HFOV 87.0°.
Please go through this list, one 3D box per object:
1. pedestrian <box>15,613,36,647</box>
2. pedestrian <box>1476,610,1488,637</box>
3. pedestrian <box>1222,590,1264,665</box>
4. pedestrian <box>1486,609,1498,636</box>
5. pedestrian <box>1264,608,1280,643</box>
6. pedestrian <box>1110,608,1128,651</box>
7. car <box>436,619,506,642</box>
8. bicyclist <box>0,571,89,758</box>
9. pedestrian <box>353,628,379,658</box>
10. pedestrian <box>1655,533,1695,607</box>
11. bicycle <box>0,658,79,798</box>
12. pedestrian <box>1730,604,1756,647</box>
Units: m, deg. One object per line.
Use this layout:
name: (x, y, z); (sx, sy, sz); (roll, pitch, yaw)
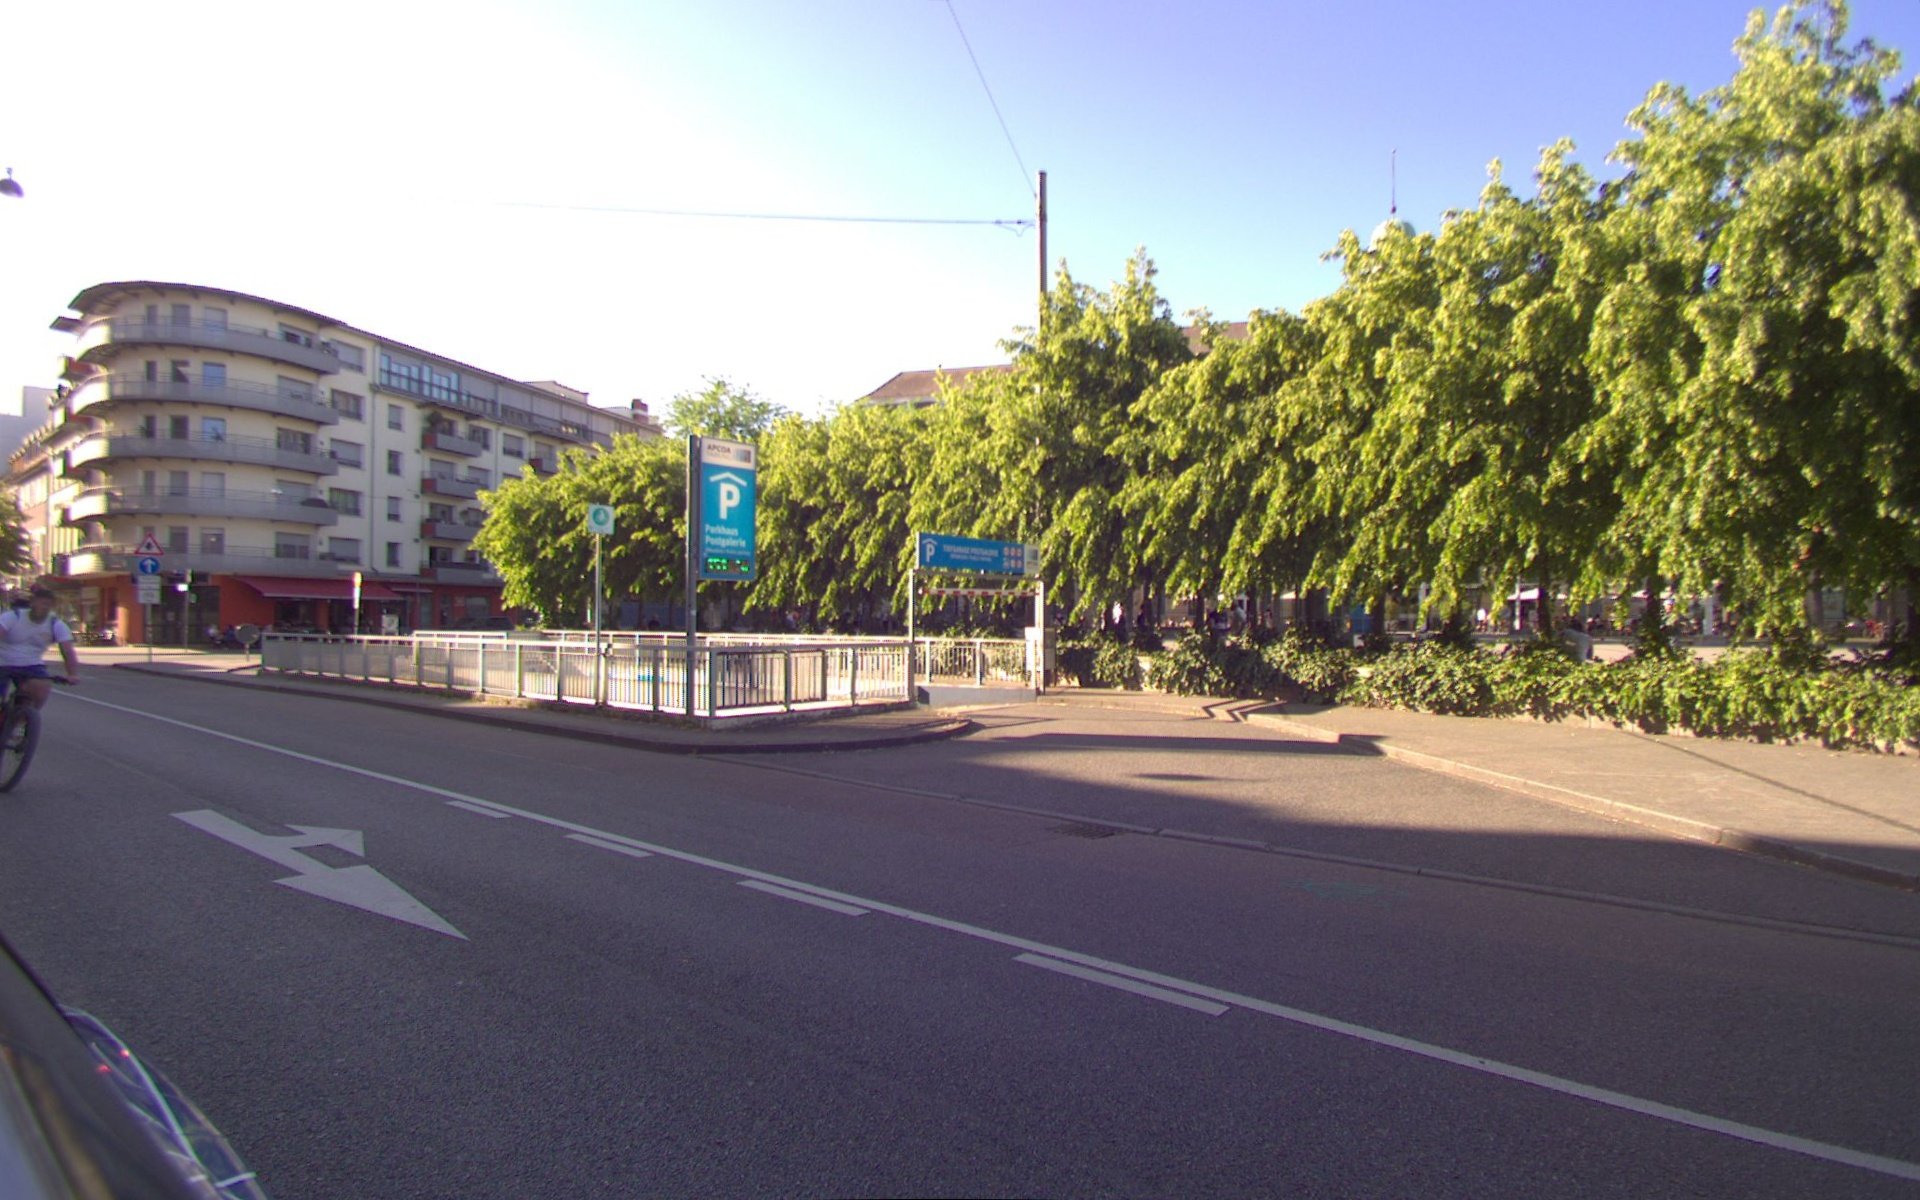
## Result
pedestrian: (-56.878, 1.802, 61.598); (0.888, 2.029, 0.850); (-1, 0, 40)
pedestrian: (34.077, 1.504, 66.070); (0.643, 1.734, 0.603); (-1, 0, 26)
pedestrian: (6.351, 0.604, 22.749); (0.645, 1.661, 0.626); (-1, 0, -35)
pedestrian: (34.196, 1.436, 65.047); (0.643, 1.734, 0.603); (-1, 0, 26)
pedestrian: (15.711, 1.301, 50.993); (0.606, 1.734, 0.640); (-1, 0, 31)
pedestrian: (6.600, 1.219, 41.998); (0.604, 1.734, 0.642); (-1, 0, 21)
car: (-30.496, 1.887, 63.211); (1.742, 1.311, 3.977); (-1, -1, 17)
bicyclist: (-8.658, 0.578, 9.276); (0.767, 1.647, 0.875); (-2, -1, 36)
pedestrian: (-32.626, 2.374, 55.577); (0.877, 1.607, 0.861); (-1, 0, 2)
pedestrian: (17.278, -0.714, 24.454); (0.643, 1.734, 0.604); (-1, 0, 22)
bicycle: (-8.658, 1.104, 9.143); (2.057, 1.093, 0.633); (-1, -1, 37)
pedestrian: (31.662, 1.037, 40.937); (0.641, 1.734, 0.605); (-1, 0, 18)
